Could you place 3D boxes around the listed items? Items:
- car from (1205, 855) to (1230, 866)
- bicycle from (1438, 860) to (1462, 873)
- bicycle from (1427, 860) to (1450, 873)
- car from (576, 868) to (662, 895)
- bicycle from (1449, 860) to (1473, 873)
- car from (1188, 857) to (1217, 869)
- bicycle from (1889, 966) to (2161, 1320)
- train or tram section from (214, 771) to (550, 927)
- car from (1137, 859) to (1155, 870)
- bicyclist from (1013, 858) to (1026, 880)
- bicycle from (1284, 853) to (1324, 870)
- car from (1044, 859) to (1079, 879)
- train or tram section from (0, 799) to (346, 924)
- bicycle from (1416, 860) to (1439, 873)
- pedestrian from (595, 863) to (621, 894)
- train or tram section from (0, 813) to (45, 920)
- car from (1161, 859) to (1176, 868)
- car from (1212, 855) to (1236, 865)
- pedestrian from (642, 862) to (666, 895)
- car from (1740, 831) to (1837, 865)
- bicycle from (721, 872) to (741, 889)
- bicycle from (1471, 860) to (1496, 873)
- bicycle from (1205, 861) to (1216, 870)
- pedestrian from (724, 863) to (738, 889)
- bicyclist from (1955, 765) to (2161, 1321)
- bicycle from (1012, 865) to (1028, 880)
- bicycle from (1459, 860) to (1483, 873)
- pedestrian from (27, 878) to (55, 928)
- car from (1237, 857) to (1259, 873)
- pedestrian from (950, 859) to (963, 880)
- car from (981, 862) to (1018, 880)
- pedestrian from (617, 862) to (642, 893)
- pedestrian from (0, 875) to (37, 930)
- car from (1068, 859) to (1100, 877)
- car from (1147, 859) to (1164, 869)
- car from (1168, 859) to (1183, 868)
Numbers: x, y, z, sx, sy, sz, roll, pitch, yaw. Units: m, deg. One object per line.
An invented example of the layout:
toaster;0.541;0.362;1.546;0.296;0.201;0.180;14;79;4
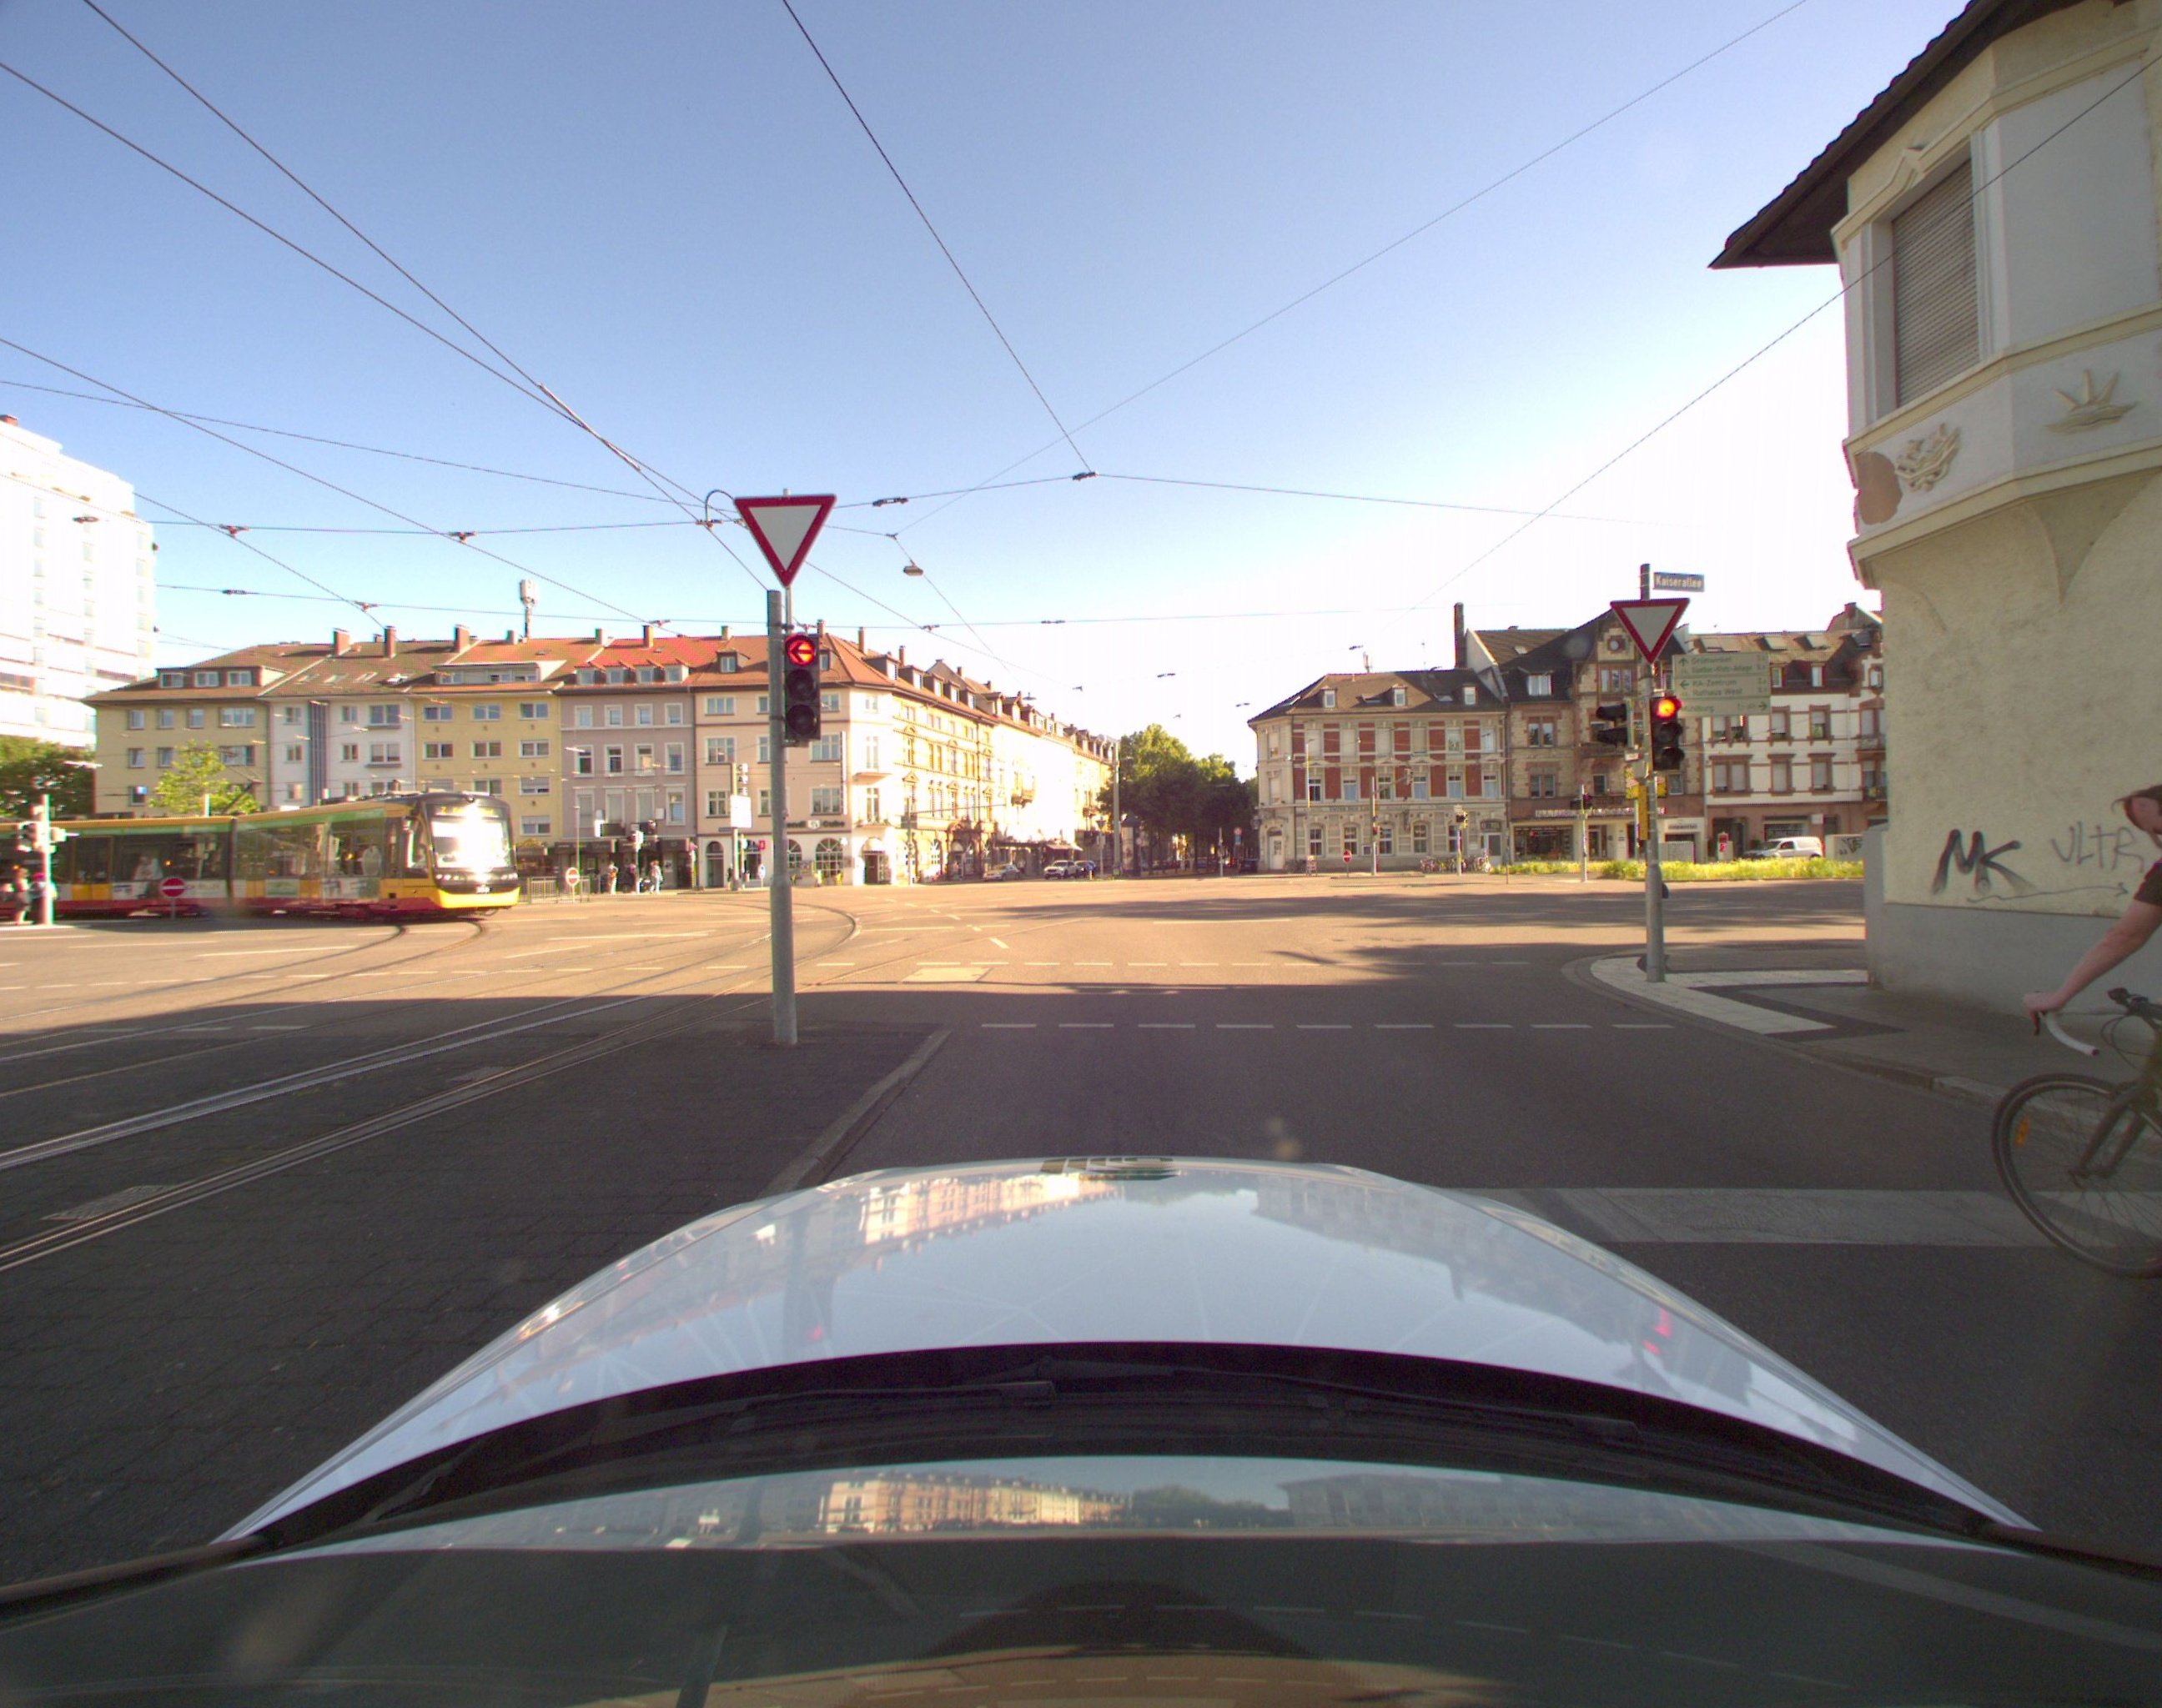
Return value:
car;21.453;1.054;127.719;3.549;1.648;1.691;-2;0;19
bicycle;23.888;0.811;52.739;0.656;0.840;2.162;0;-1;3
bicycle;23.164;0.816;52.754;0.656;0.840;2.162;0;-1;3
car;-30.362;1.788;53.636;4.347;1.711;2.308;0;-1;4
bicycle;24.571;0.806;52.746;0.656;0.840;2.162;0;-1;3
car;17.208;1.253;115.453;3.870;1.648;1.691;-2;0;19
bicycle;3.603;0.956;2.508;0.516;0.970;1.750;-1;0;2
train or tram section;-21.073;0.006;24.144;12.888;3.814;2.959;-1;0;28
car;9.177;1.488;115.446;1.664;1.354;3.608;-2;0;19
bicyclist;-4.937;1.207;65.413;0.772;1.803;1.060;-1;-1;16
bicycle;15.607;0.497;57.058;2.547;1.174;0.818;0;-1;-1
car;-1.601;1.212;67.509;1.664;1.483;3.789;-2;0;19
train or tram section;-32.490;0.321;28.039;12.710;3.814;2.947;-1;0;7
bicycle;22.429;0.821;52.695;0.656;0.840;2.162;0;-1;3
pedestrian;-24.741;1.287;42.583;0.842;1.577;0.836;-1;-1;11
train or tram section;-44.535;0.598;28.732;12.041;3.814;2.941;-1;0;0
car;14.037;1.498;130.607;1.664;1.354;3.608;-2;0;19
car;23.359;0.961;133.153;3.549;1.648;1.691;-2;0;19
pedestrian;-20.634;1.159;39.341;0.545;1.577;0.838;-1;-1;29
car;45.446;-0.386;52.400;4.406;2.013;2.002;-1;0;4
bicycle;-22.779;1.691;52.992;0.570;1.077;1.497;0;-1;2
bicycle;26.012;0.795;52.716;0.656;0.840;2.162;0;-1;3
bicycle;15.773;1.387;99.278;0.636;1.021;1.839;0;-1;-12
pedestrian;-22.780;1.400;53.008;0.580;1.670;0.753;0;-1;2
bicyclist;3.578;0.574;2.499;0.570;1.701;1.117;-1;0;2
bicycle;-4.891;1.482;65.533;0.696;1.118;1.642;-1;-1;16
bicycle;25.208;0.800;52.701;0.656;0.840;2.162;0;-1;3
pedestrian;-31.911;1.498;24.990;0.456;1.505;0.485;-1;1;38
car;16.908;1.093;82.333;1.664;1.483;3.967;-2;0;19
pedestrian;-10.283;1.287;67.115;0.770;1.670;0.834;-1;-1;17
car;-6.706;1.422;67.225;1.664;1.354;3.608;-2;0;19
pedestrian;-22.841;1.180;41.178;0.720;1.577;0.836;-1;-1;11
pedestrian;-32.917;1.498;25.239;0.456;1.644;0.643;-1;1;38
car;0.311;1.238;73.768;1.664;1.483;3.967;-2;0;19
car;11.247;1.517;122.362;1.664;1.354;3.608;-2;0;19
car;15.724;1.517;135.600;1.664;1.354;3.608;-2;0;19
